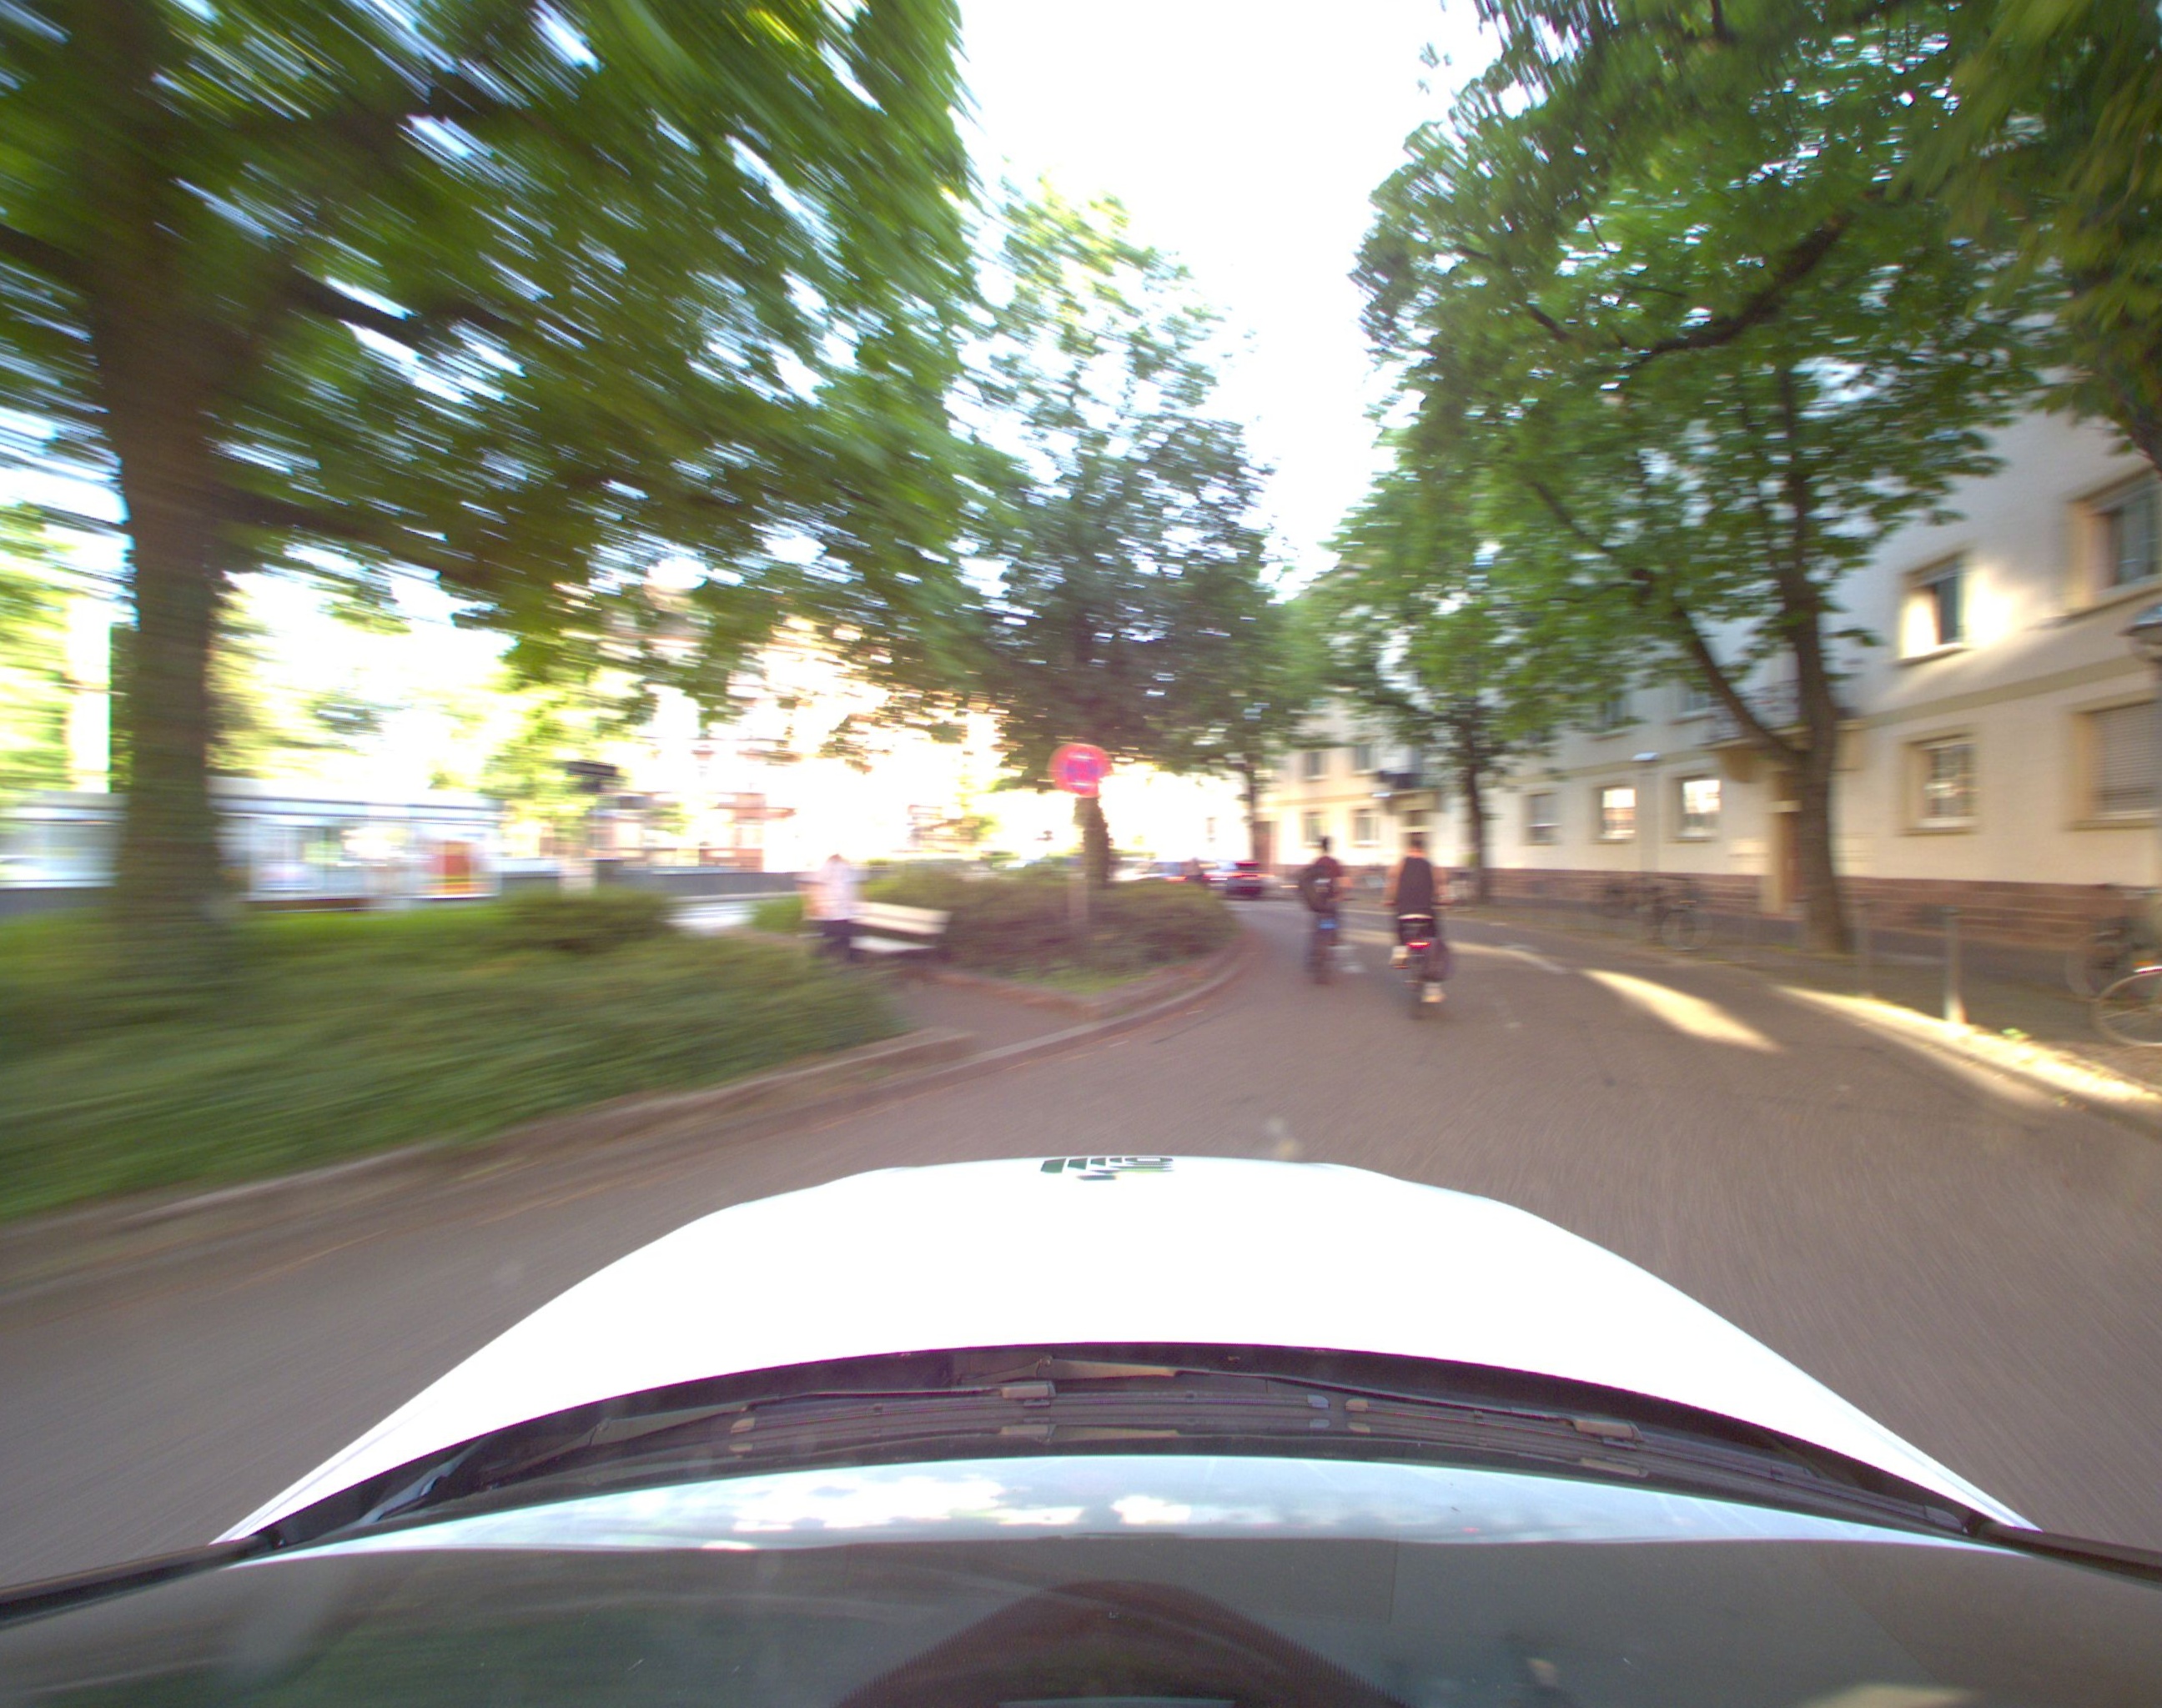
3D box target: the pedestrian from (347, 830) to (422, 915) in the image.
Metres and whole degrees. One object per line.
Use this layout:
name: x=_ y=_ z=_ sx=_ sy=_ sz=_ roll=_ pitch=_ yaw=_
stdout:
pedestrian: x=-16.131 y=0.410 z=18.864 sx=0.901 sy=1.897 sz=1.026 roll=0 pitch=0 yaw=27

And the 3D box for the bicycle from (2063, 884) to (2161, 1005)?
bicycle: x=10.343 y=0.865 z=7.619 sx=0.388 sy=1.109 sz=1.808 roll=0 pitch=0 yaw=9

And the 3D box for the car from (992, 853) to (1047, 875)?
car: x=-4.628 y=0.717 z=61.872 sx=1.975 sy=1.496 sz=4.402 roll=0 pitch=2 yaw=29

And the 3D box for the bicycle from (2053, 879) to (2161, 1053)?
bicycle: x=7.710 y=0.784 z=5.441 sx=0.550 sy=1.182 sz=1.796 roll=0 pitch=0 yaw=11

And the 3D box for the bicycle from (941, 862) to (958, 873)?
bicycle: x=-10.194 y=1.034 z=63.118 sx=0.445 sy=0.861 sz=1.231 roll=0 pitch=0 yaw=44

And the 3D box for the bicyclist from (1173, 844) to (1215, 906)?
bicyclist: x=3.525 y=0.636 z=25.481 sx=0.853 sy=1.898 sz=1.132 roll=0 pitch=0 yaw=-20

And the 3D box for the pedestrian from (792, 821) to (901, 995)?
pedestrian: x=-2.440 y=0.524 z=8.449 sx=0.922 sy=1.684 sz=0.772 roll=0 pitch=0 yaw=-32

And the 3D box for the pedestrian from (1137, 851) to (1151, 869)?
pedestrian: x=6.822 y=0.668 z=87.986 sx=1.147 sy=1.962 sz=1.395 roll=0 pitch=0 yaw=24

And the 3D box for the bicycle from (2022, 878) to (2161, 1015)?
bicycle: x=9.910 y=0.845 z=7.621 sx=0.434 sy=1.181 sz=1.790 roll=0 pitch=0 yaw=11

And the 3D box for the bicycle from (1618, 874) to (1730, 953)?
bicycle: x=9.554 y=0.917 z=13.220 sx=0.675 sy=1.158 sz=2.007 roll=-1 pitch=-1 yaw=11

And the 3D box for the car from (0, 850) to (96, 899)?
car: x=-42.055 y=0.774 z=31.894 sx=1.976 sy=1.870 sz=4.022 roll=0 pitch=0 yaw=23

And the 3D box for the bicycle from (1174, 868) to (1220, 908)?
bicycle: x=3.597 y=1.045 z=25.375 sx=0.599 sy=1.162 sz=2.029 roll=1 pitch=0 yaw=-17

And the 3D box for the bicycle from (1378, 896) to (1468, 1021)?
bicycle: x=3.480 y=0.990 z=8.376 sx=0.731 sy=1.012 sz=2.072 roll=-1 pitch=0 yaw=21

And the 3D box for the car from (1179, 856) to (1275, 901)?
car: x=5.550 y=0.894 z=31.457 sx=1.899 sy=1.577 sz=3.971 roll=0 pitch=0 yaw=-21

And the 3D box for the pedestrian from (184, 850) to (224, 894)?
pedestrian: x=-31.439 y=0.646 z=29.196 sx=0.810 sy=1.544 sz=0.817 roll=0 pitch=-2 yaw=37

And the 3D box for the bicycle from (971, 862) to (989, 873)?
bicycle: x=-8.216 y=1.068 z=66.213 sx=0.445 sy=0.861 sz=1.455 roll=0 pitch=0 yaw=44

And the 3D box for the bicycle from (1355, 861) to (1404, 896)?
bicycle: x=10.924 y=0.878 z=29.922 sx=0.495 sy=1.172 sz=2.105 roll=-3 pitch=1 yaw=-16

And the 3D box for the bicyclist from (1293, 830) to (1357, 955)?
bicyclist: x=3.159 y=0.471 z=10.486 sx=0.665 sy=1.514 sz=1.075 roll=-1 pitch=-1 yaw=22

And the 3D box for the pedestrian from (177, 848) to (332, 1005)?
pedestrian: x=-9.288 y=0.776 z=9.197 sx=0.895 sy=1.684 sz=0.817 roll=0 pitch=0 yaw=-8

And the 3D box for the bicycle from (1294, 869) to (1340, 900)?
bicycle: x=8.628 y=1.092 z=29.853 sx=0.617 sy=1.058 sz=1.917 roll=-2 pitch=0 yaw=-17

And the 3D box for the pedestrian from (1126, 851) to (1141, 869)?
pedestrian: x=5.703 y=0.639 z=88.590 sx=1.147 sy=1.962 sz=1.395 roll=0 pitch=0 yaw=24

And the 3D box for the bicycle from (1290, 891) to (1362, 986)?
bicycle: x=3.241 y=1.041 z=10.652 sx=0.668 sy=1.054 sz=2.072 roll=-1 pitch=-2 yaw=23

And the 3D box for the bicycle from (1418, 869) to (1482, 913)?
bicycle: x=10.261 y=1.009 z=22.718 sx=0.616 sy=1.113 sz=1.986 roll=-3 pitch=0 yaw=-8

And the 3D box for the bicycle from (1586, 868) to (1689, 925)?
bicycle: x=12.330 y=0.924 z=18.119 sx=0.673 sy=1.182 sz=1.811 roll=-2 pitch=-1 yaw=-18

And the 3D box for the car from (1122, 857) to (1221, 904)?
car: x=3.182 y=0.915 z=29.499 sx=1.821 sy=1.543 sz=3.927 roll=-2 pitch=0 yaw=-24

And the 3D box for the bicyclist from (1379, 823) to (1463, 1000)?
bicyclist: x=3.449 y=0.545 z=8.290 sx=0.746 sy=1.682 sz=0.918 roll=0 pitch=0 yaw=22

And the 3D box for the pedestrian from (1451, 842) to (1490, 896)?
pedestrian: x=13.305 y=0.489 z=27.810 sx=0.997 sy=1.795 sz=0.656 roll=-1 pitch=0 yaw=-17

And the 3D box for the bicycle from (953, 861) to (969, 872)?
bicycle: x=-9.414 y=1.007 z=64.050 sx=0.445 sy=0.861 sz=1.231 roll=0 pitch=0 yaw=44

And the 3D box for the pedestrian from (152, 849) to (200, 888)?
pedestrian: x=-39.024 y=0.620 z=35.132 sx=0.992 sy=1.630 sz=1.070 roll=0 pitch=0 yaw=20

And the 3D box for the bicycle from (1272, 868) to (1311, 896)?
bicycle: x=8.086 y=1.072 z=31.349 sx=0.520 sy=0.999 sz=2.182 roll=0 pitch=0 yaw=-12

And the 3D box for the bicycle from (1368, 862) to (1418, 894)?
bicycle: x=11.509 y=0.875 z=30.096 sx=0.583 sy=1.114 sz=2.106 roll=-1 pitch=0 yaw=-15
